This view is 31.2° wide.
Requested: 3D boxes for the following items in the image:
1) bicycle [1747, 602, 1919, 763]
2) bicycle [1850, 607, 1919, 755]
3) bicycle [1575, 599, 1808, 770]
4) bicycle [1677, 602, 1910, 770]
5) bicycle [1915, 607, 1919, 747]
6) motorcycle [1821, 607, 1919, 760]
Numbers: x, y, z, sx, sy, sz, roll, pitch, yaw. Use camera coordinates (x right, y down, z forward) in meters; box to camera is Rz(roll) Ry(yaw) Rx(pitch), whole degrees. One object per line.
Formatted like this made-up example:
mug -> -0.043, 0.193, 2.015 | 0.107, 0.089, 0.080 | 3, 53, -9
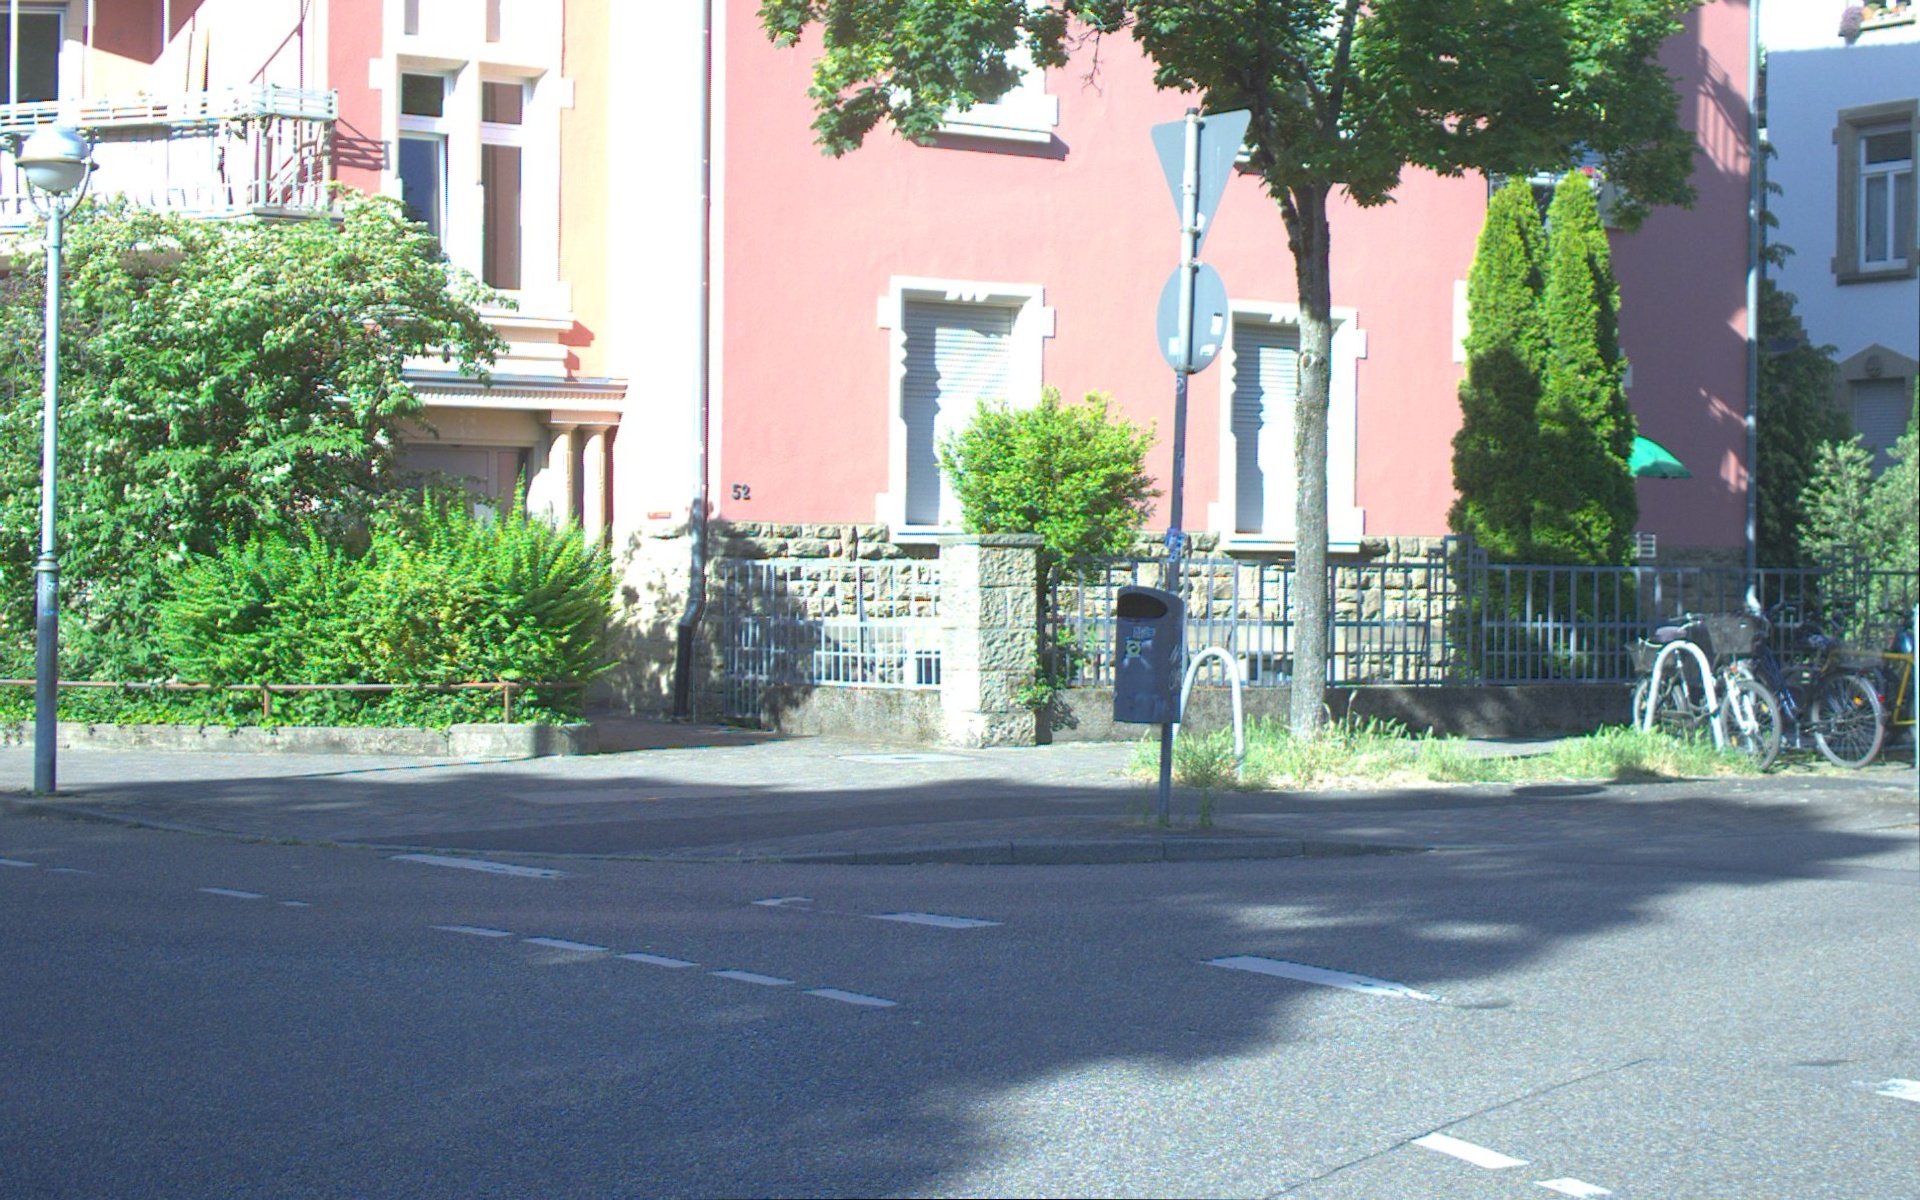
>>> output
bicycle -> 6.803, 0.611, 25.501 | 1.828, 1.103, 0.500 | 3, 3, 42
bicycle -> 7.704, 0.645, 26.312 | 0.499, 1.103, 1.726 | 0, 3, -40
bicycle -> 5.223, 0.584, 24.629 | 0.544, 1.111, 1.727 | 0, 2, -33
bicycle -> 6.077, 0.606, 25.144 | 0.544, 1.111, 1.727 | 0, 2, -33
bicycle -> 8.286, 0.648, 26.665 | 0.499, 1.103, 1.727 | 0, 2, -36
motorcycle -> 7.364, 0.646, 25.861 | 0.499, 1.103, 1.726 | 0, 3, -40
